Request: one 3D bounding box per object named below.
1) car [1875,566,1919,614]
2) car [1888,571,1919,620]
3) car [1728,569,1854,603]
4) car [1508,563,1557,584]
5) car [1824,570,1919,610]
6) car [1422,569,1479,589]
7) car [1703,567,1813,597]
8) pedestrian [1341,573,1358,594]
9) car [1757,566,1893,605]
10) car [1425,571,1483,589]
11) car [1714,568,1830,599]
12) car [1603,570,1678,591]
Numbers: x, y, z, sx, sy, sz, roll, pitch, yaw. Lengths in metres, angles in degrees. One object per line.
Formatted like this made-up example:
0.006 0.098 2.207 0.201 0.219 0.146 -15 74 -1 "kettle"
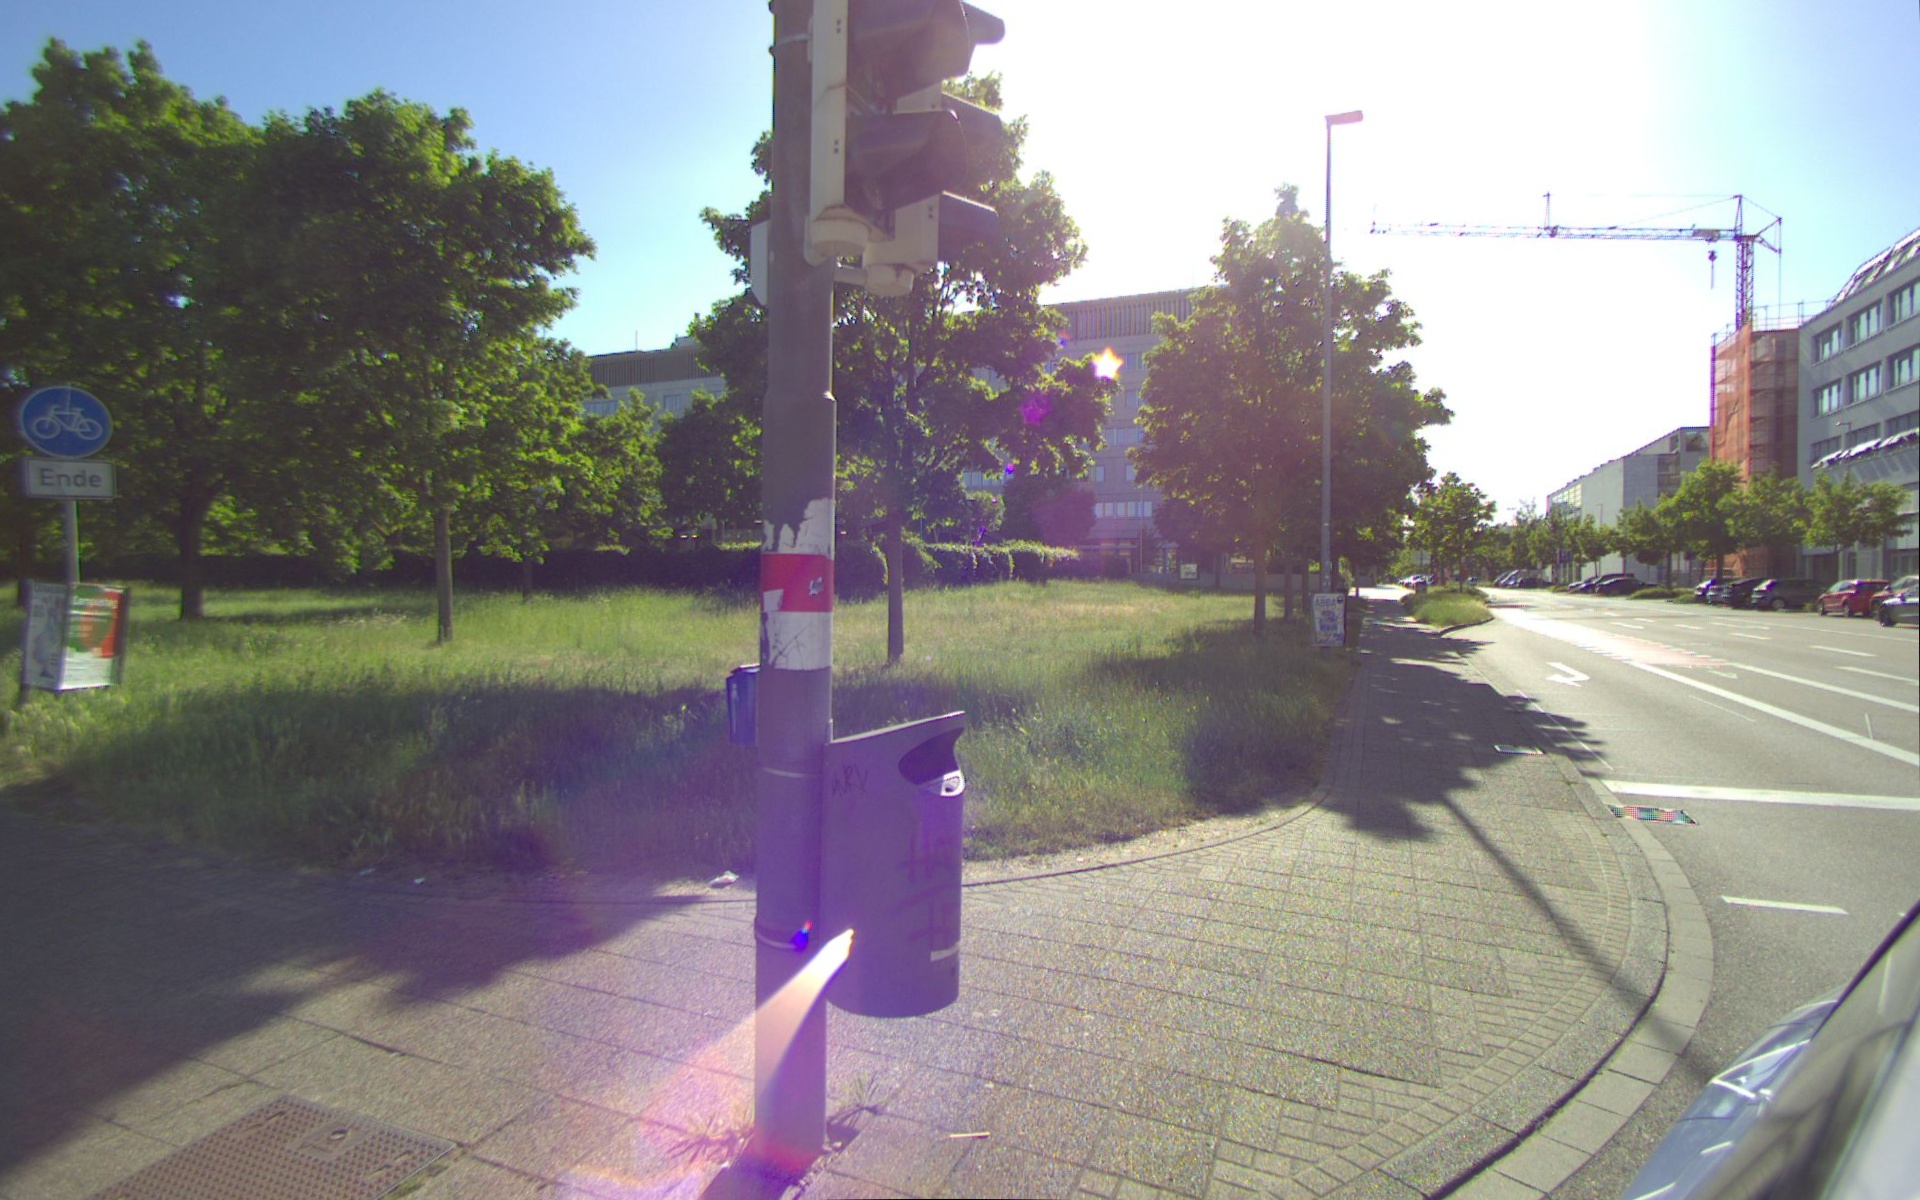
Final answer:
34.097 -0.372 35.343 1.673 1.627 4.281 -2 1 21 "car"
30.124 -0.111 30.396 1.673 1.486 4.518 1 2 20 "car"
40.411 -0.694 49.340 4.346 1.450 1.682 -2 0 22 "car"
77.336 -3.577 136.835 5.531 2.514 1.992 -2 0 27 "car"
35.921 -0.420 39.902 1.674 1.450 3.841 -2 1 23 "car"
43.120 -1.897 89.070 4.369 1.661 2.058 1 2 24 "car"
43.320 -0.959 55.059 4.349 1.450 1.681 -2 0 23 "car"
24.168 -1.024 62.735 0.834 1.232 0.726 1 2 11 "pedestrian"
39.548 -0.667 46.409 4.343 1.557 1.683 -2 0 20 "car"
42.393 -1.717 86.911 4.369 1.481 1.880 2 2 24 "car"
42.511 -0.864 53.090 4.348 1.450 1.681 -2 0 23 "car"
51.945 -1.501 77.331 4.345 1.450 1.965 -2 0 21 "car"
